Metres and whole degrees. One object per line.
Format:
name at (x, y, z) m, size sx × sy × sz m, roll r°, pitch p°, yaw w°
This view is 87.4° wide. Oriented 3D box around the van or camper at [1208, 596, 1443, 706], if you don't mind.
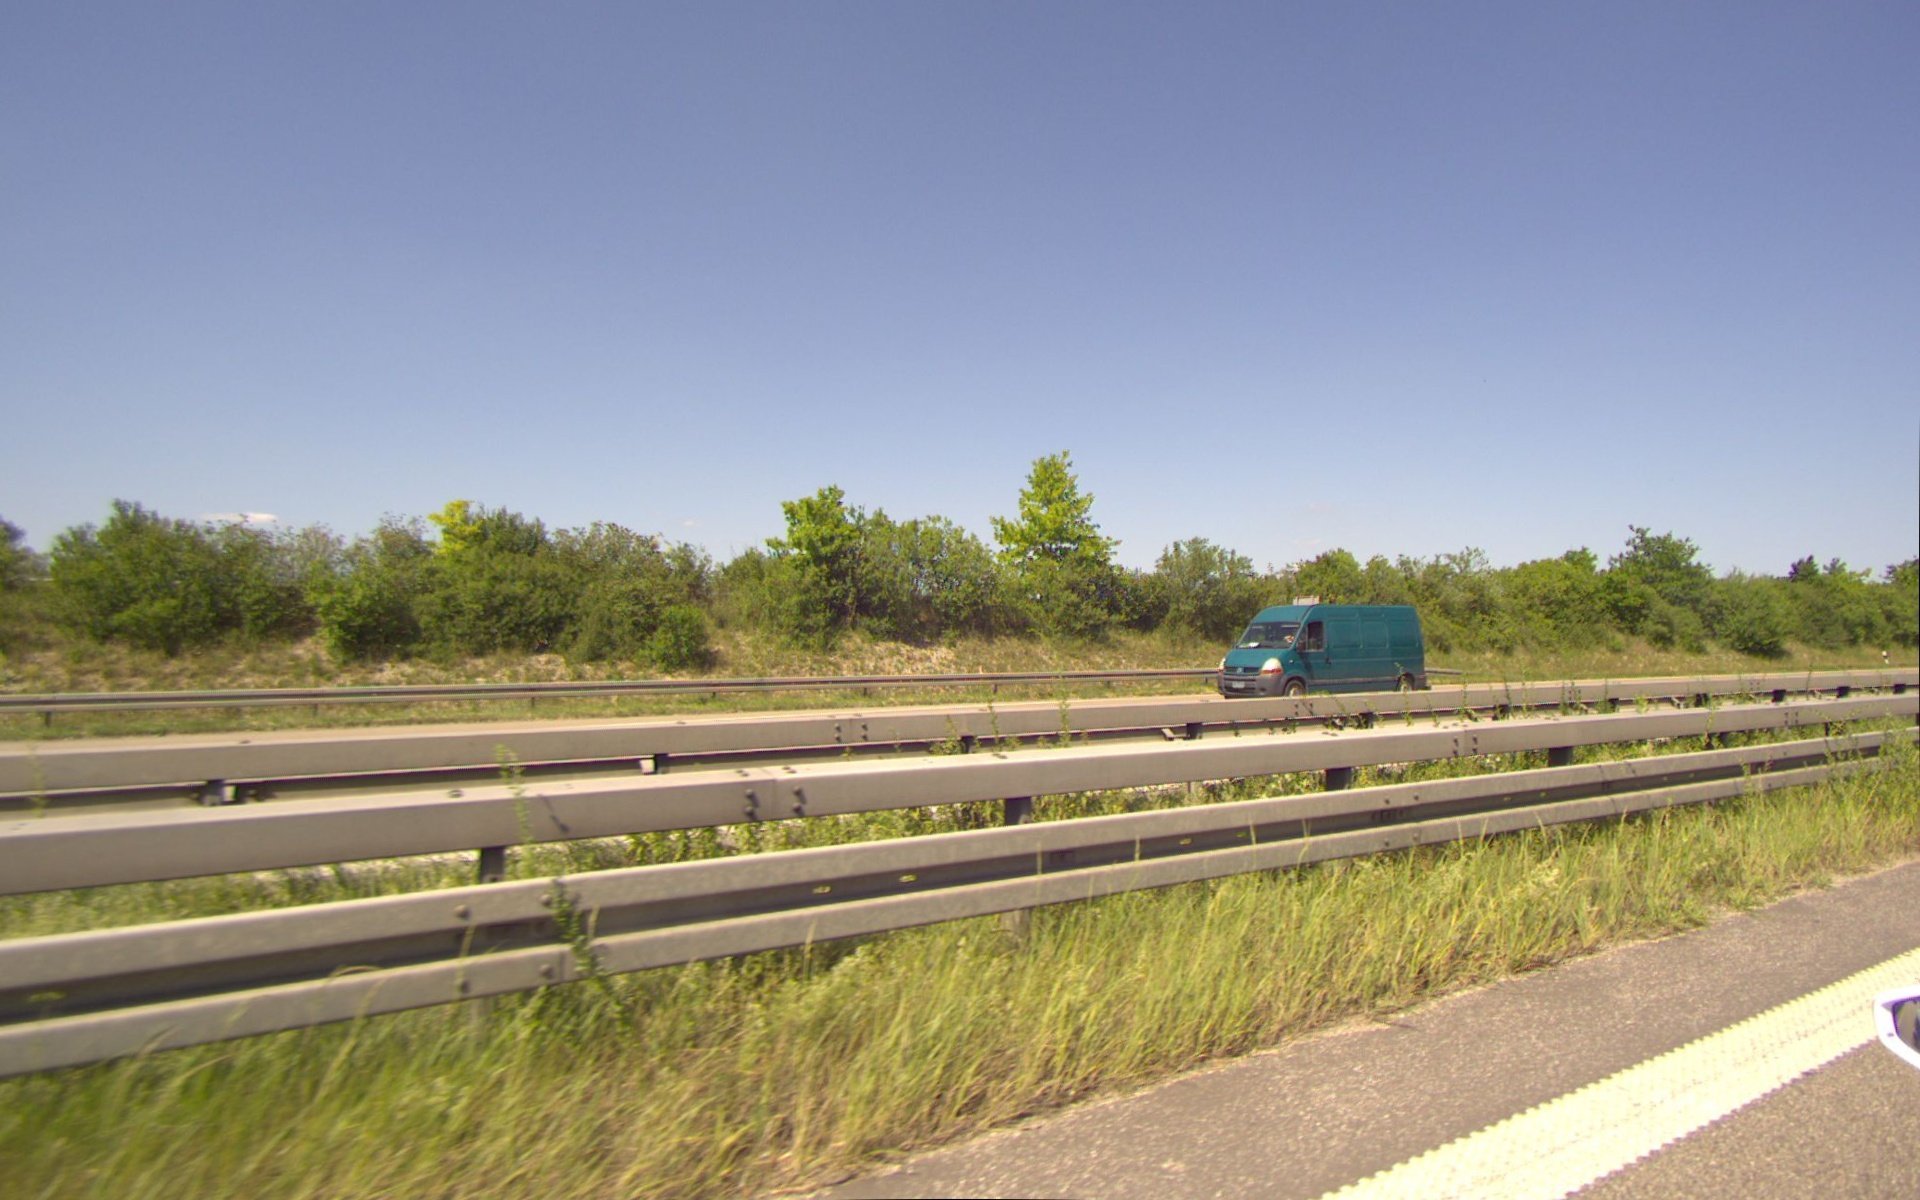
van or camper at (9.081, 1.219, 24.726) m, size 6.168 × 2.423 × 1.984 m, roll 1°, pitch -2°, yaw -31°
